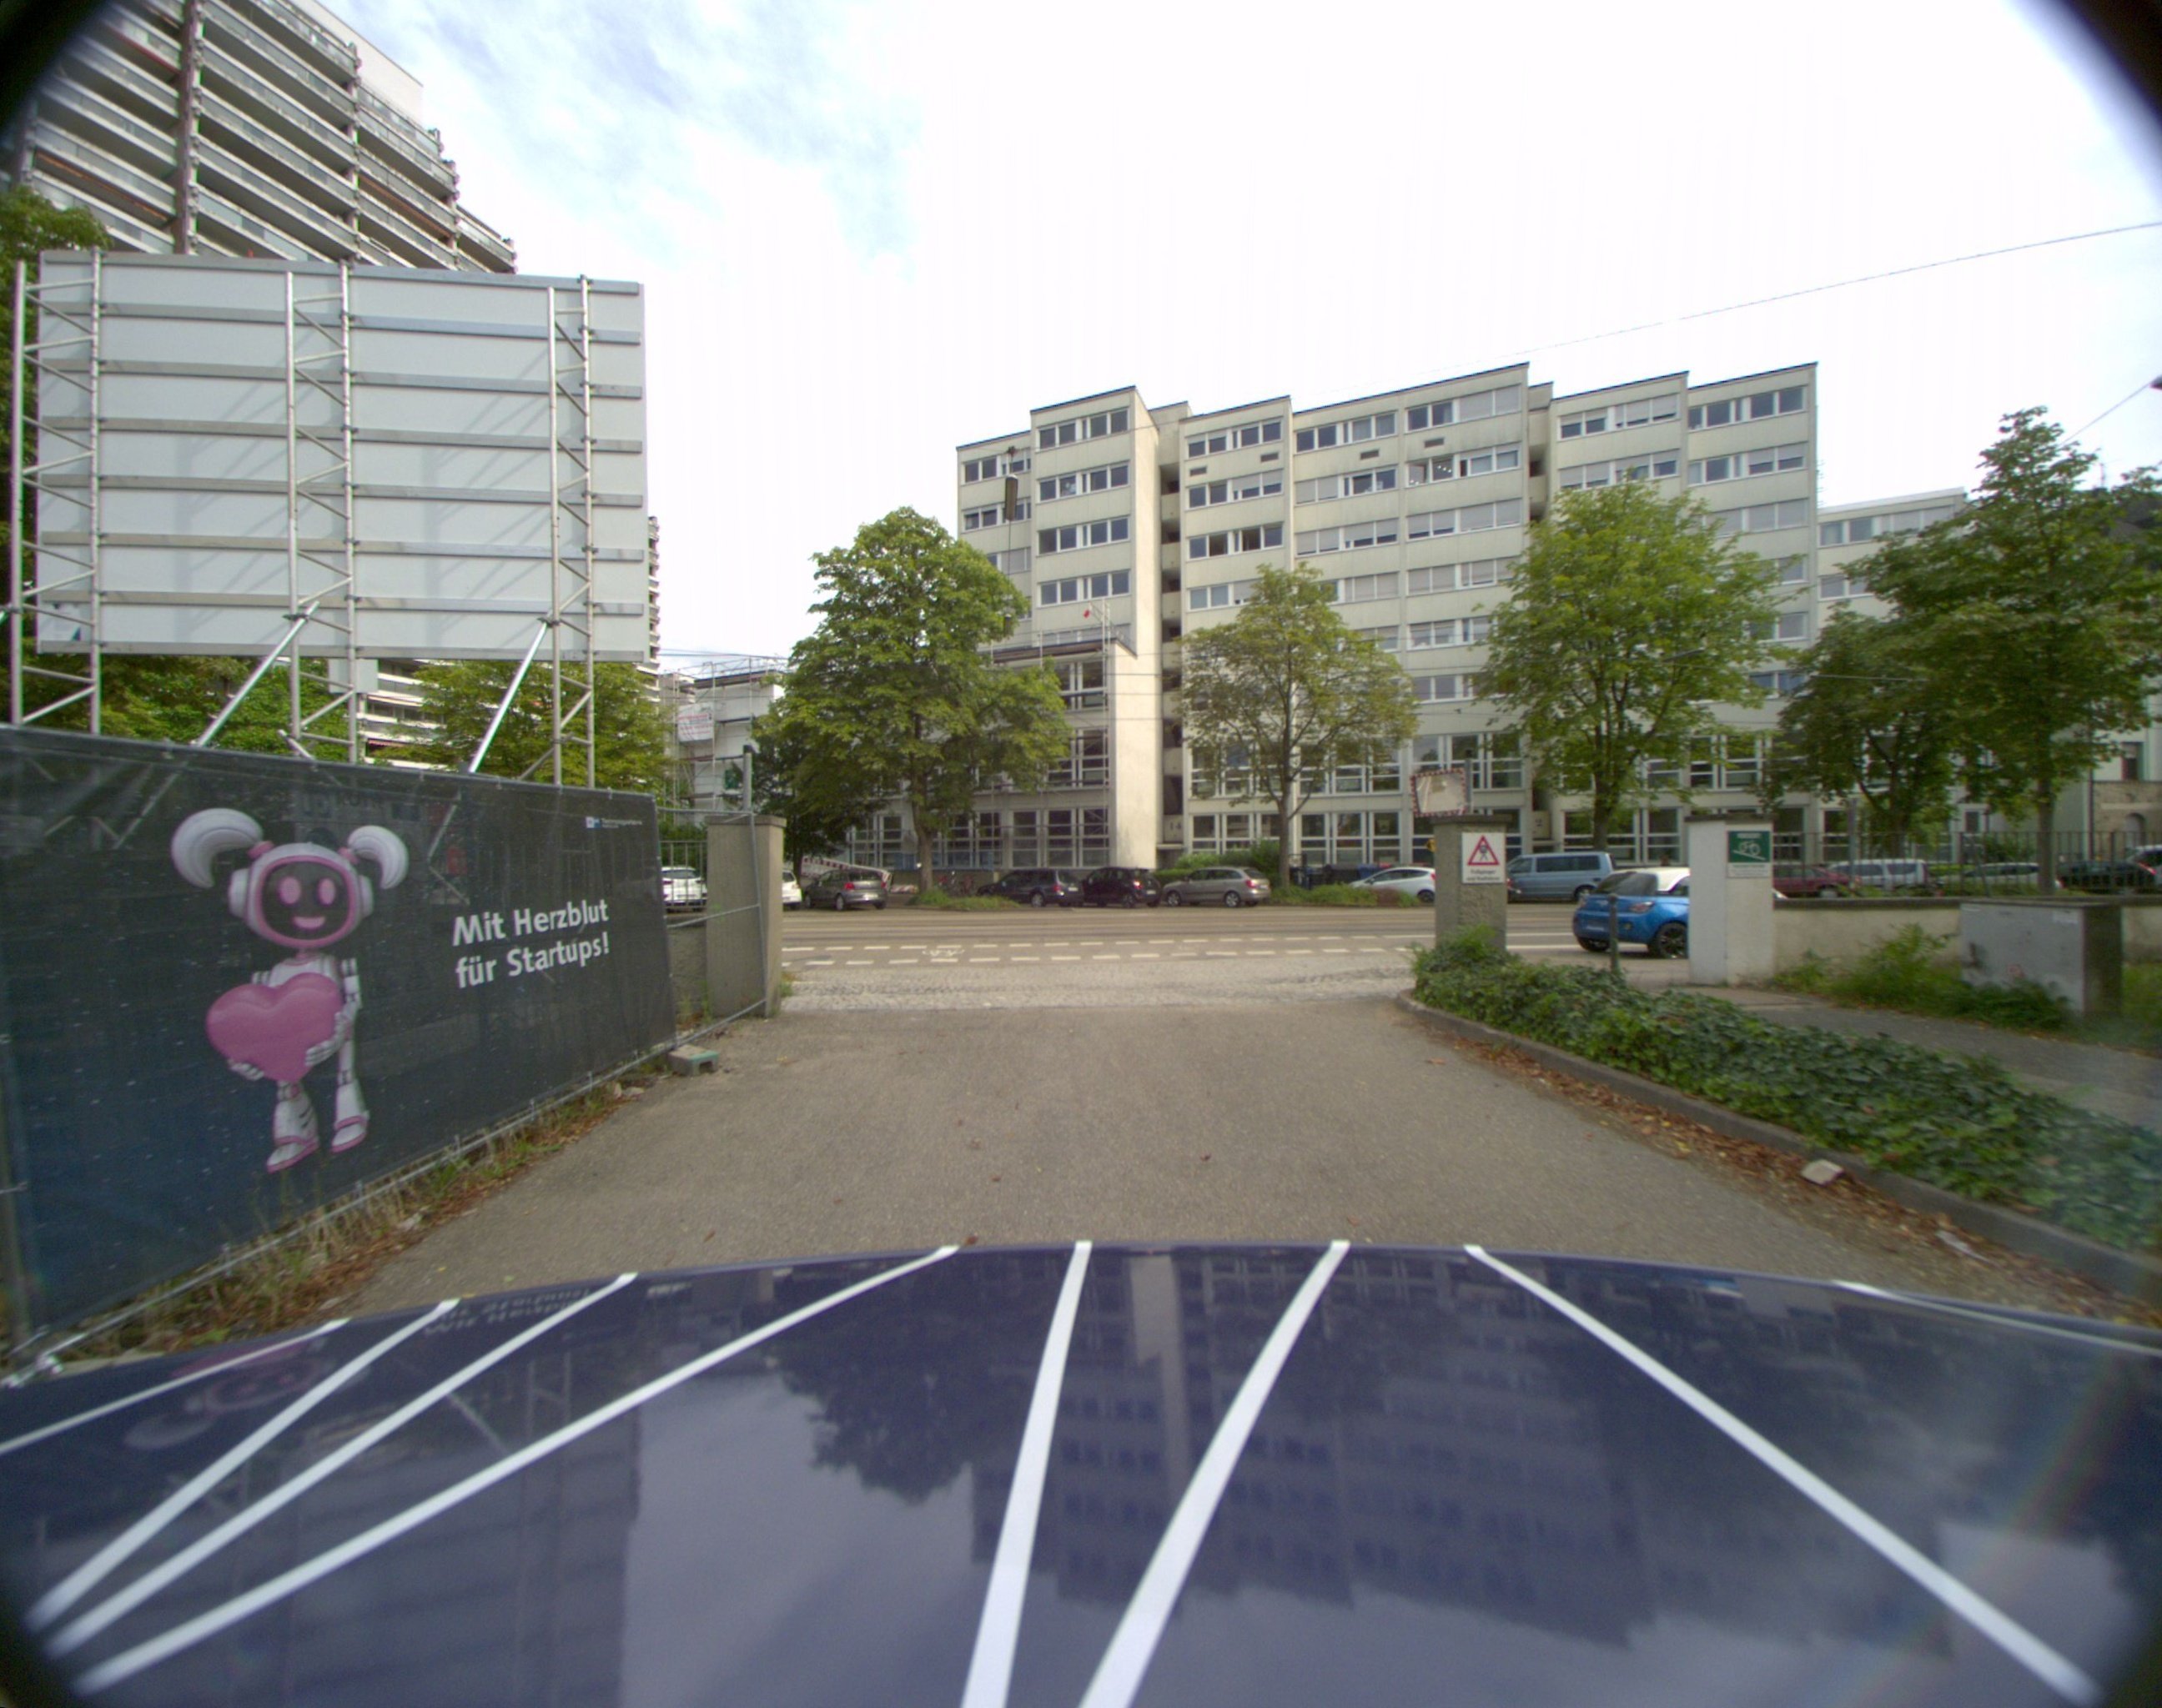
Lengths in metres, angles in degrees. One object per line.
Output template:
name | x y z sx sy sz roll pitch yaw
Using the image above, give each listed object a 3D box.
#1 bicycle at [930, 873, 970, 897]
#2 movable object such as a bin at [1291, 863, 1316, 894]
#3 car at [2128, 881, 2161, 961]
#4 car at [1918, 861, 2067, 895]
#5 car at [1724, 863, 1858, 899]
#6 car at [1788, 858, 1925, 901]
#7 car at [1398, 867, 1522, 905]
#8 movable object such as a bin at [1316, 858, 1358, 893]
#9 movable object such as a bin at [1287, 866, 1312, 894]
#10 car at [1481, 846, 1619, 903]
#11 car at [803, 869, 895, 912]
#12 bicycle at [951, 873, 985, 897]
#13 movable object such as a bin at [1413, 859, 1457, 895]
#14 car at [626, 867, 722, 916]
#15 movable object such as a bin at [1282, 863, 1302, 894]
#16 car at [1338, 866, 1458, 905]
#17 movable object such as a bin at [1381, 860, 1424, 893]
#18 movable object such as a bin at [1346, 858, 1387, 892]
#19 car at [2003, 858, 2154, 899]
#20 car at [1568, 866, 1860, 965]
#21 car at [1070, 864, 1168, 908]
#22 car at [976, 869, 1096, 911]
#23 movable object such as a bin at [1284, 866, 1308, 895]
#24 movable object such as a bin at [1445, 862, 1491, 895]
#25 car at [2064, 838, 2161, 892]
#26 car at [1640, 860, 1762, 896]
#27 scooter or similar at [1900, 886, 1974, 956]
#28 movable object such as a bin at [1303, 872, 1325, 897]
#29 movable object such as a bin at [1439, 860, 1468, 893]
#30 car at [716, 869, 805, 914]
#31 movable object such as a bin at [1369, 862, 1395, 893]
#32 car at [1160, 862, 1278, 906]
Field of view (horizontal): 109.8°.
bicycle | -5.959 1.377 34.671 0.593 1.037 1.982 -1 -1 32
movable object such as a bin | 11.466 1.251 39.183 1.177 1.559 1.176 -1 0 16
car | 21.886 1.234 13.900 3.573 1.456 1.633 0 -1 -6
car | 37.443 0.965 31.360 3.635 1.322 1.771 -1 -1 39
car | 27.992 1.038 30.061 3.759 1.331 1.818 -1 -1 43
car | 30.890 0.989 30.427 3.759 1.608 1.818 -1 -1 43
car | 14.669 1.236 29.500 3.961 1.378 1.819 -1 -2 39
movable object such as a bin | 11.505 0.949 34.165 1.415 1.520 1.330 -1 0 -1
movable object such as a bin | 10.913 1.288 37.922 1.177 1.362 1.176 -1 0 16
car | 18.150 0.767 29.483 4.334 2.051 2.004 -1 -1 39
car | -8.366 1.264 27.253 1.686 1.411 3.636 -1 -1 -44
bicycle | -5.091 1.385 34.417 0.593 1.037 1.981 -1 -1 23
movable object such as a bin | 16.014 1.015 34.424 1.353 1.586 1.335 -1 0 -1
car | -14.289 1.275 26.593 3.636 1.593 1.686 -1 0 40
movable object such as a bin | 9.852 1.137 35.470 0.910 1.398 1.026 -1 0 16
car | 11.911 1.149 28.678 3.851 1.384 1.638 -1 -1 39
movable object such as a bin | 14.536 1.007 34.400 1.353 1.493 1.335 -1 0 -1
movable object such as a bin | 12.930 0.929 34.434 1.337 1.495 1.335 -1 0 -1
car | 41.326 0.988 31.567 1.770 1.579 3.637 -1 -1 -31
car | 10.289 0.946 12.498 3.601 1.456 1.633 0 -1 -6
car | 1.372 1.145 28.403 3.408 1.528 1.599 -1 -1 42
car | -1.678 1.280 27.862 4.158 1.407 1.820 -1 -1 36
movable object such as a bin | 10.386 1.274 36.690 1.116 1.383 1.065 -1 0 16
movable object such as a bin | 17.561 1.110 34.533 1.399 1.450 1.335 -1 0 -1
car | 45.059 0.431 31.224 5.424 2.163 2.153 -1 -1 43
car | 24.518 0.946 30.155 3.635 1.322 1.771 -1 -1 39
scooter or similar | 14.697 1.132 13.065 0.368 1.160 1.007 -1 -3 19
movable object such as a bin | 10.355 1.341 33.759 0.742 1.099 0.786 -1 0 1
movable object such as a bin | 18.119 1.088 36.967 1.172 1.559 1.182 -1 0 23
car | -11.460 1.303 27.061 1.686 1.466 3.636 -1 -1 -44
movable object such as a bin | 15.129 1.181 38.173 1.172 1.505 1.182 -1 0 23
car | 5.079 1.103 28.288 4.041 1.528 1.599 -1 -1 39
